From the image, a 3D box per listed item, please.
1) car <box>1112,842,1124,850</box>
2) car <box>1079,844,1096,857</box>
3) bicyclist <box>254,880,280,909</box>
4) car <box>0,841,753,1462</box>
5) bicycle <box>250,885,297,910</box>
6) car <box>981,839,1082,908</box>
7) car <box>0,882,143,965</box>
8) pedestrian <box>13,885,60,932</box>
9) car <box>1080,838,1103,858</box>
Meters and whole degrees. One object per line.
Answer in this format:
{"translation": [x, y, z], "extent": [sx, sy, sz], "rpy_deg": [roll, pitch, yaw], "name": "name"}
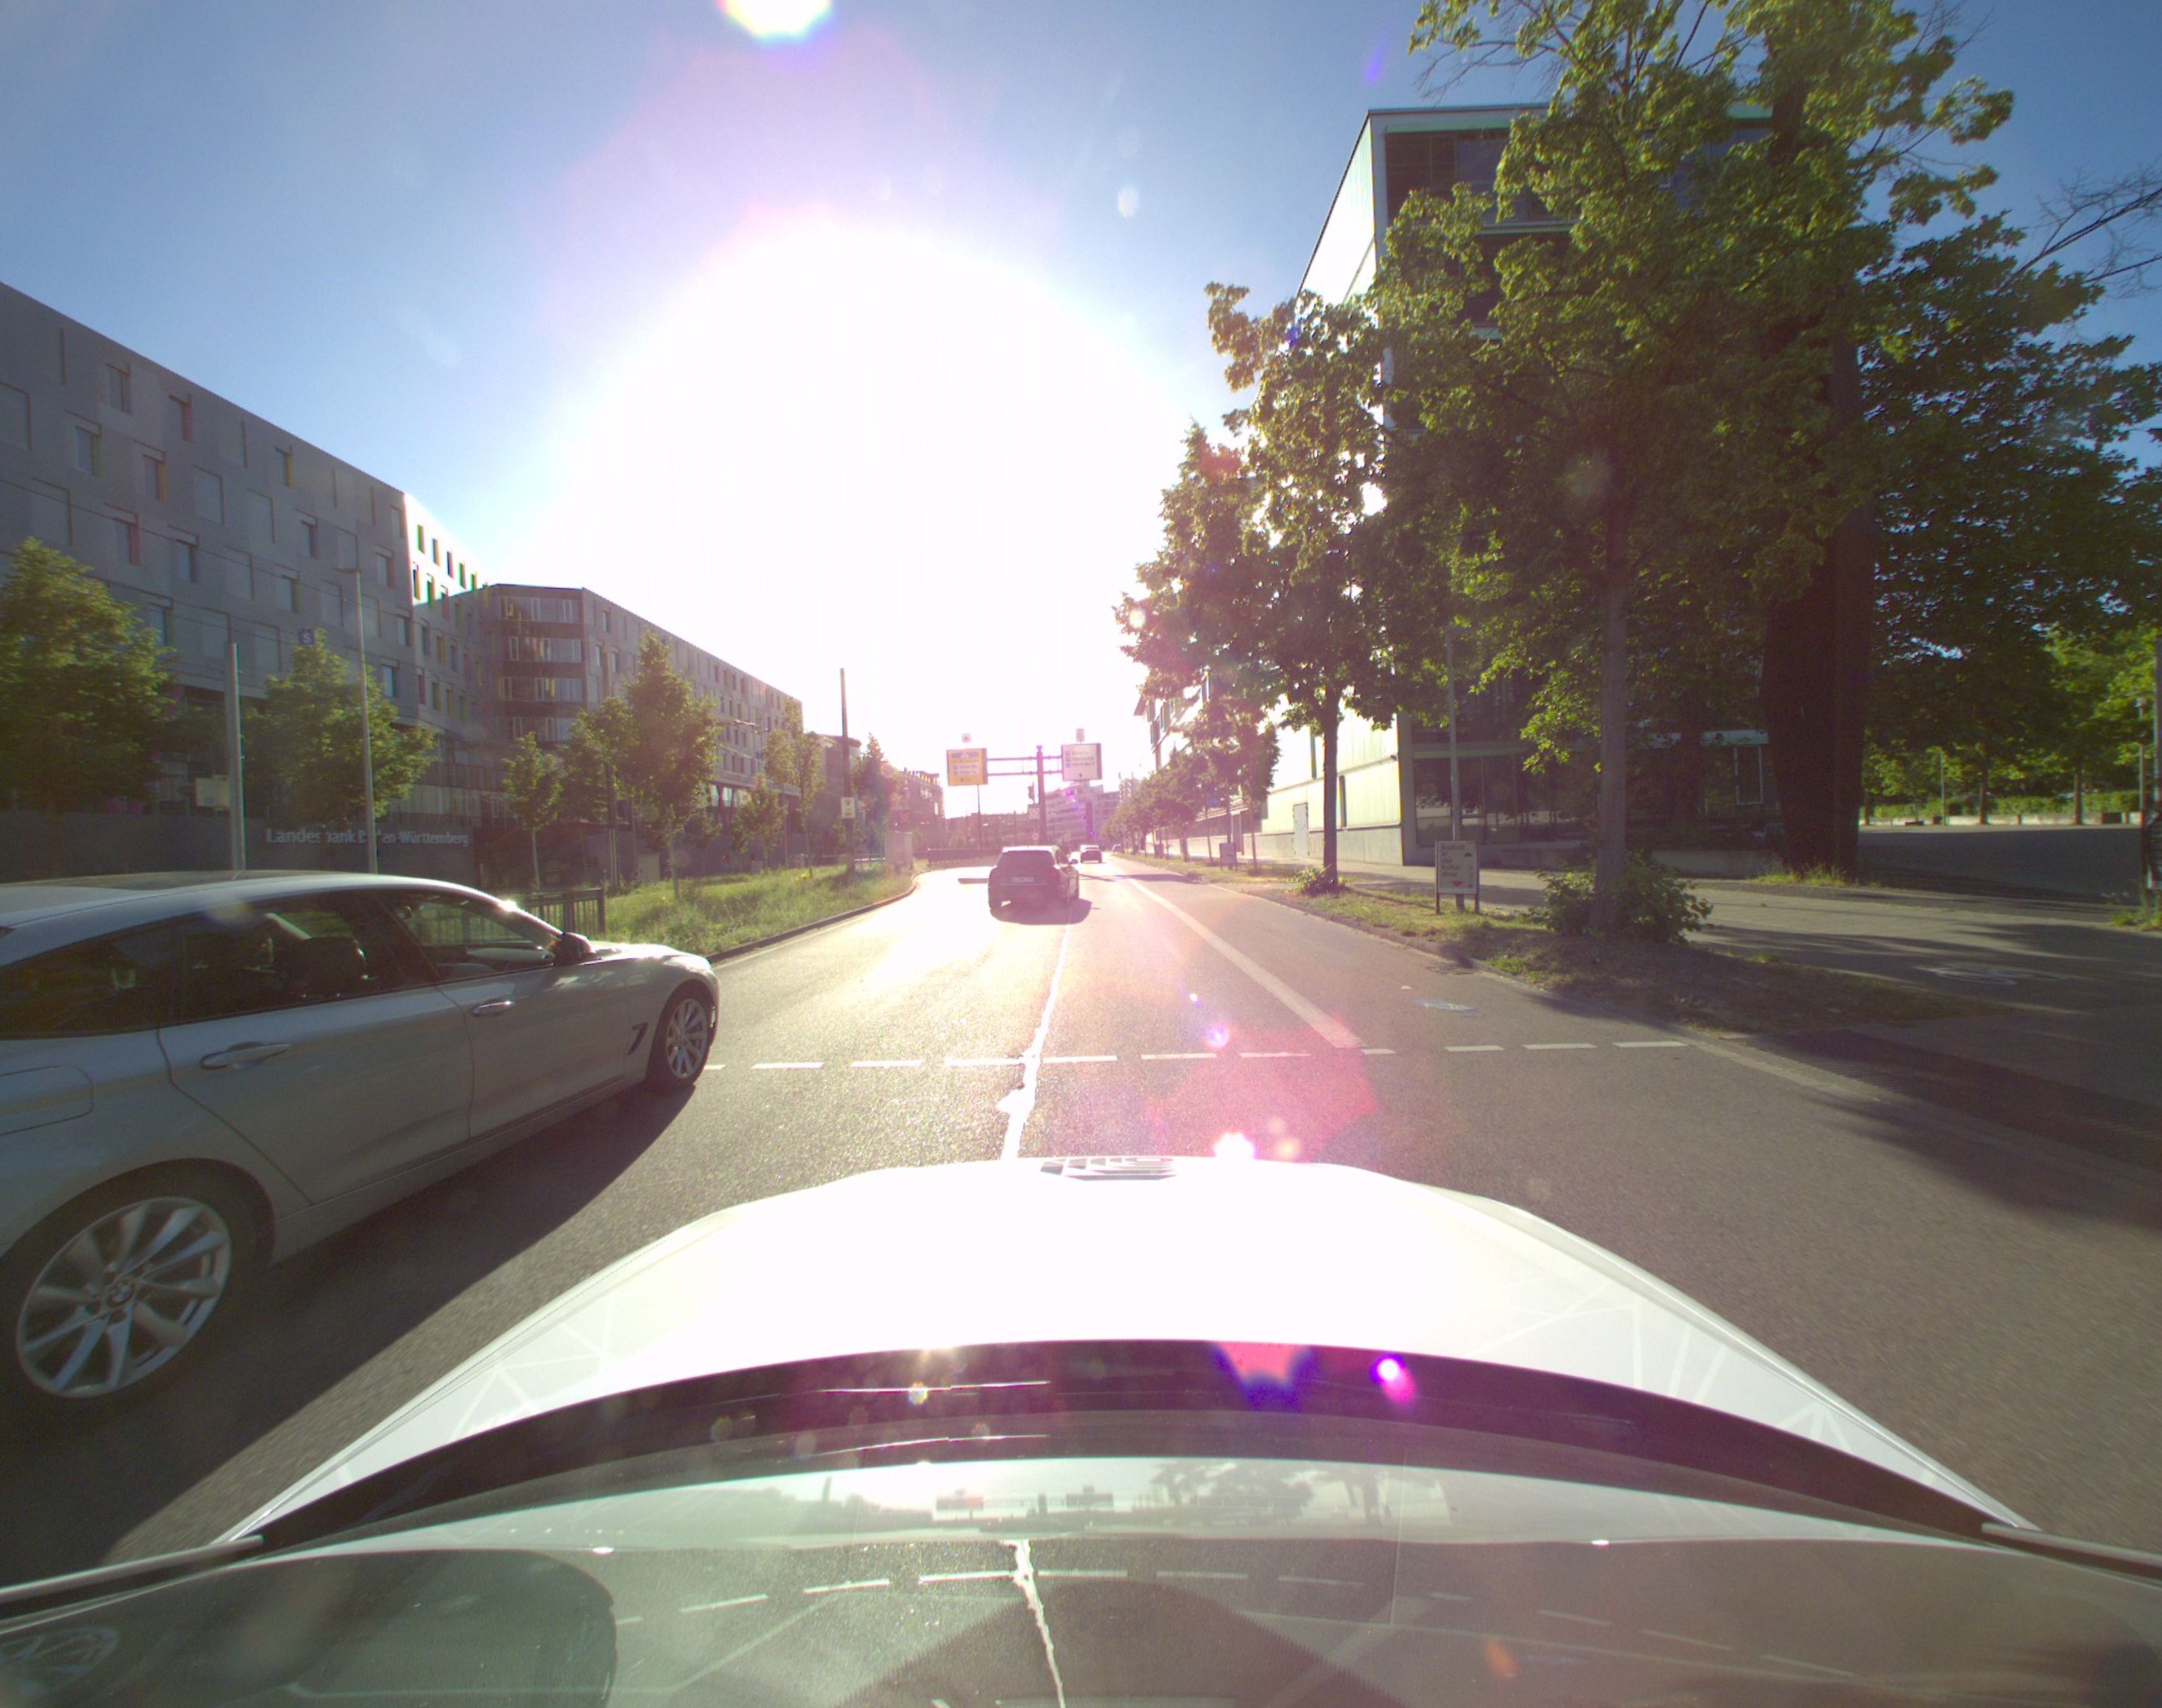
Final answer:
{"translation": [7.082, -1.596, 157.020], "extent": [1.847, 1.480, 4.852], "rpy_deg": [-4, 1, -1], "name": "car"}
{"translation": [0.830, -0.498, 105.121], "extent": [1.989, 1.465, 3.996], "rpy_deg": [-2, 2, -3], "name": "car"}
{"translation": [-44.176, 2.208, 44.218], "extent": [0.556, 1.495, 0.763], "rpy_deg": [-3, 1, 0], "name": "bicyclist"}
{"translation": [-3.478, 0.722, 3.638], "extent": [1.791, 1.526, 4.915], "rpy_deg": [-1, 1, 3], "name": "car"}
{"translation": [-43.799, 2.353, 44.220], "extent": [0.518, 1.172, 1.975], "rpy_deg": [-3, 1, 0], "name": "bicycle"}
{"translation": [-1.083, 0.392, 20.166], "extent": [1.804, 1.427, 4.696], "rpy_deg": [-3, 1, 4], "name": "car"}
{"translation": [-23.005, 1.518, 16.648], "extent": [1.988, 1.562, 4.870], "rpy_deg": [-3, 1, -1], "name": "car"}
{"translation": [-43.557, 2.263, 33.976], "extent": [0.718, 1.821, 0.871], "rpy_deg": [-3, 1, 0], "name": "pedestrian"}
{"translation": [0.868, -0.491, 66.493], "extent": [1.846, 1.546, 4.001], "rpy_deg": [-1, 1, 1], "name": "car"}
